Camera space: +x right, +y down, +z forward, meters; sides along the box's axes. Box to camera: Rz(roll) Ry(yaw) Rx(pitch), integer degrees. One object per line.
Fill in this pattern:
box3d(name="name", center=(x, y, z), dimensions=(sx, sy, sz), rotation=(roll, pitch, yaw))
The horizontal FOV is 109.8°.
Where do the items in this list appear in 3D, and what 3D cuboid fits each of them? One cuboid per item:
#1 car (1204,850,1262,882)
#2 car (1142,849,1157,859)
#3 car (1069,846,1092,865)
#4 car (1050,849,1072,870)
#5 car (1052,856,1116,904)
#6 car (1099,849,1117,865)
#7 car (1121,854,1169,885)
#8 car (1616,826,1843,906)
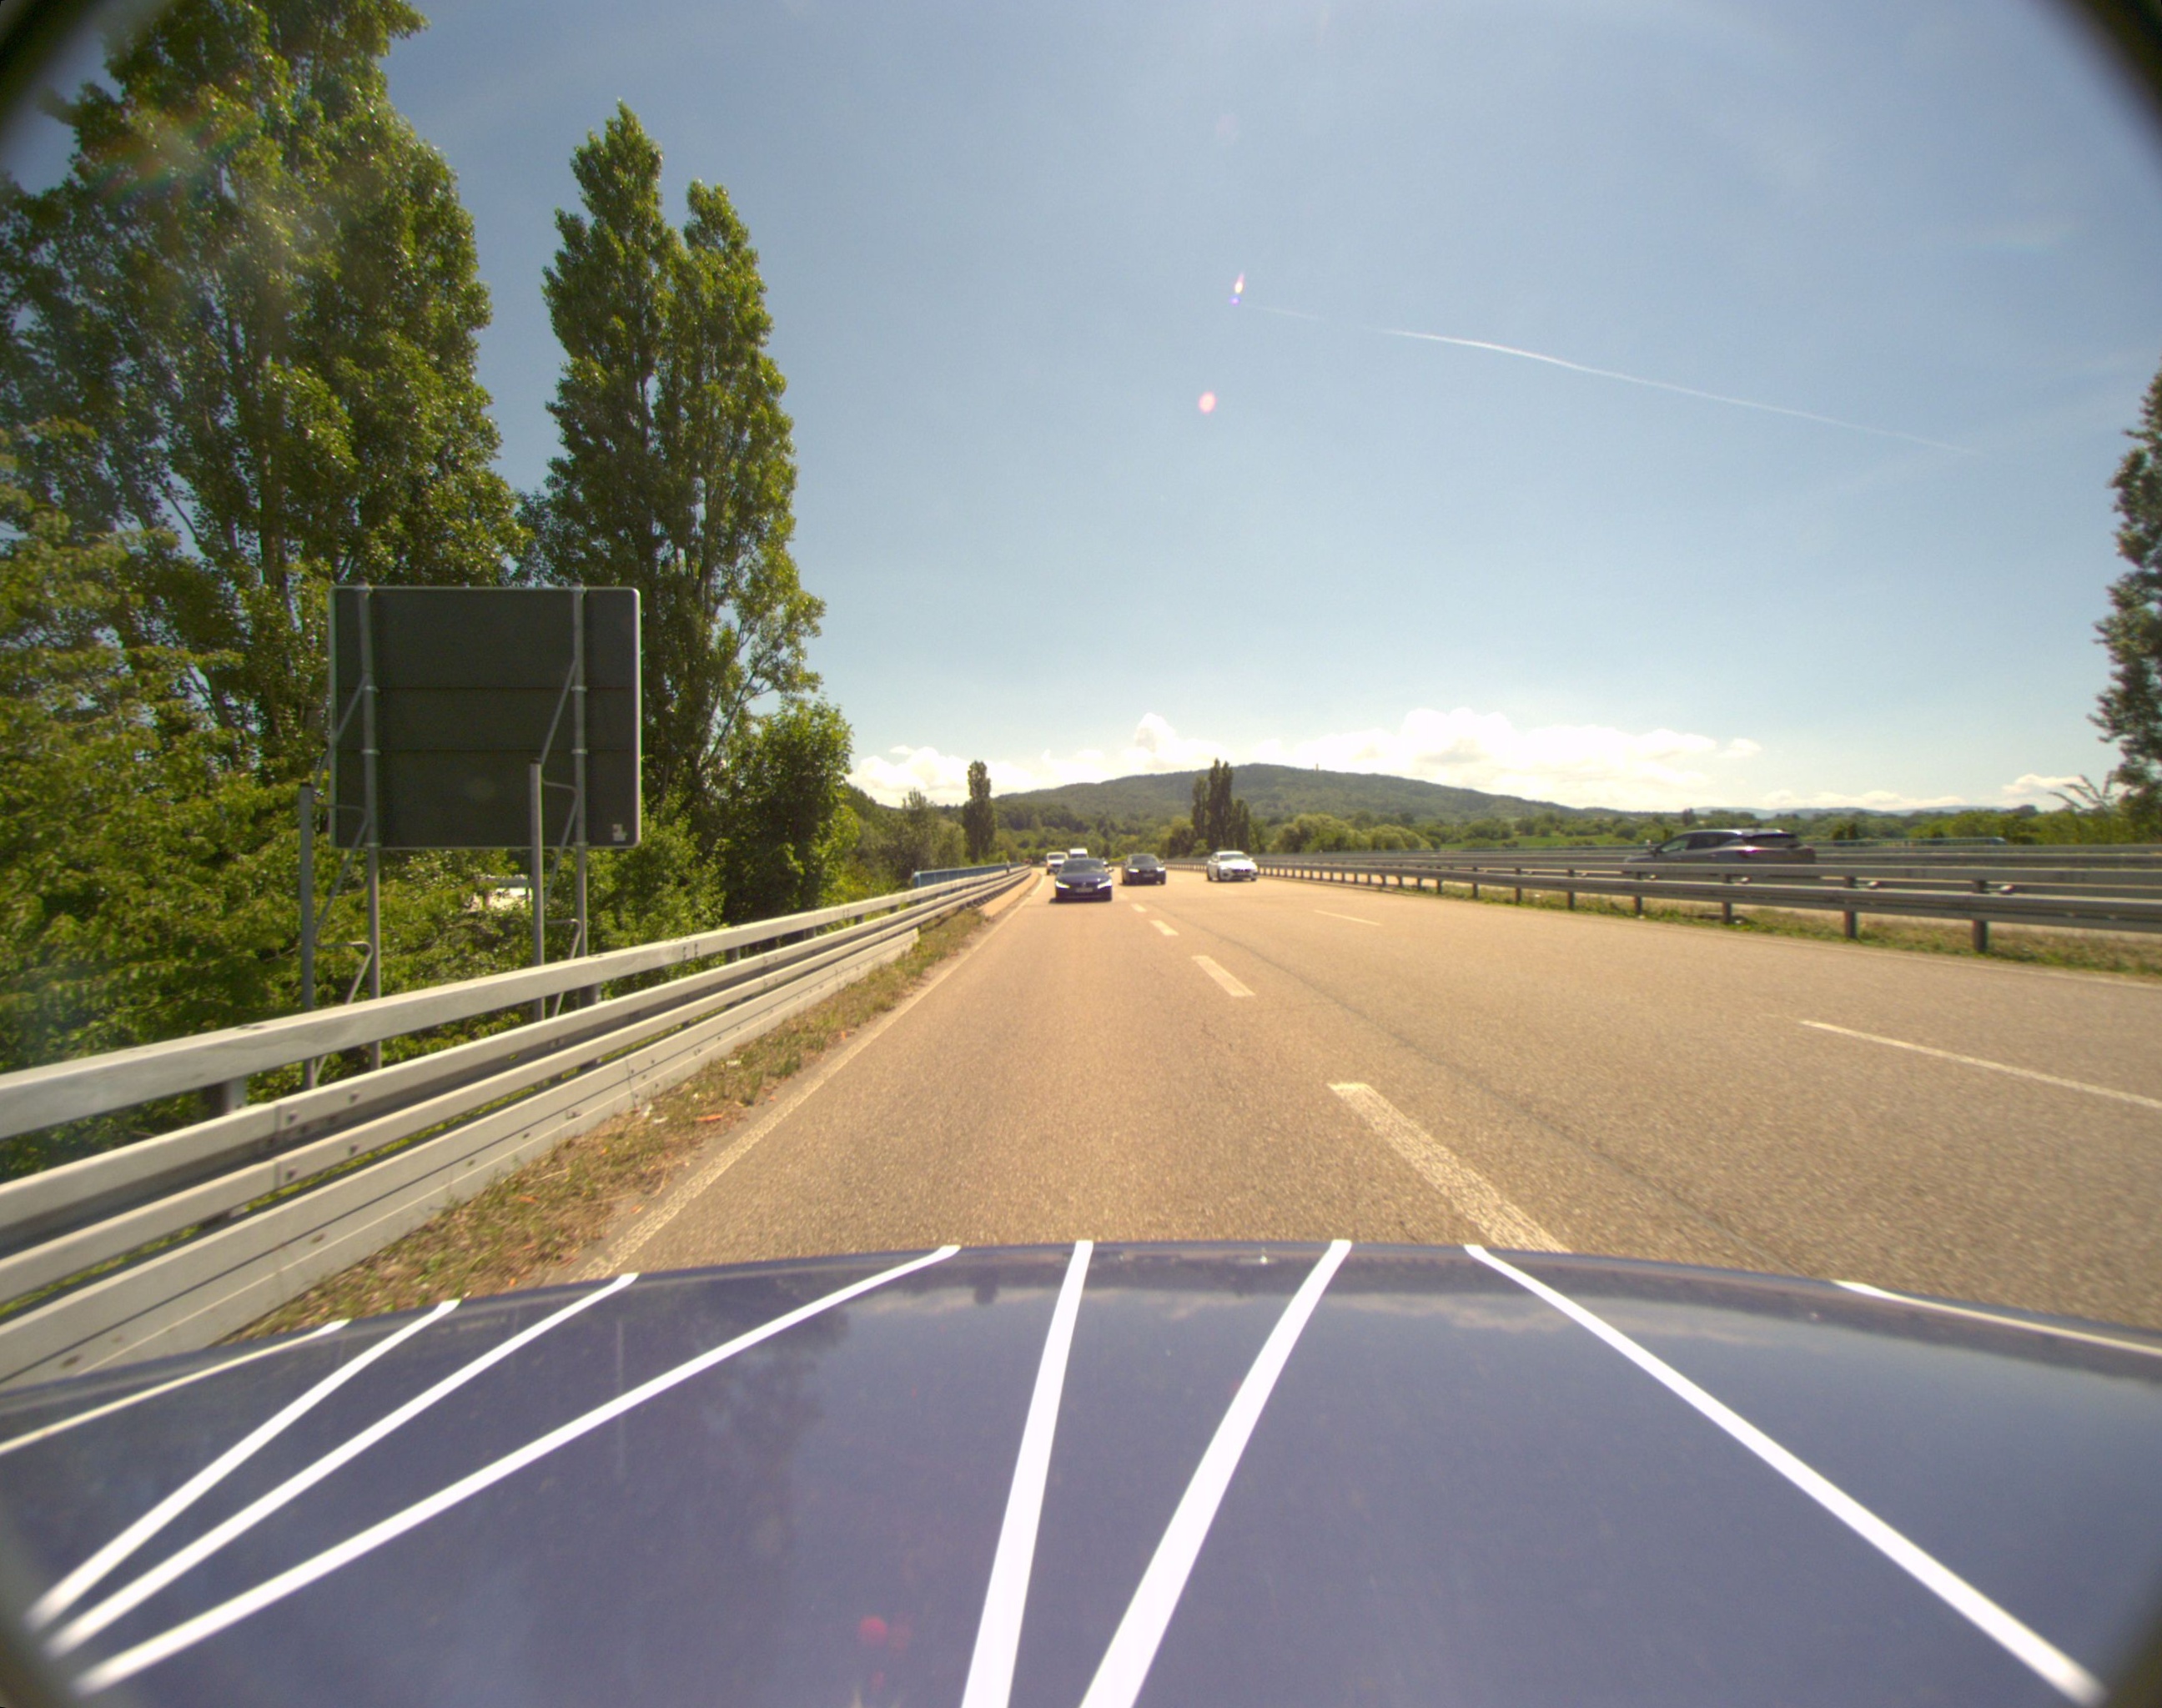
box3d(name="car", center=(7.446, 0.563, 37.595), dimensions=(1.846, 1.399, 4.469), rotation=(-2, 1, -1))
box3d(name="car", center=(11.803, 0.030, 130.669), dimensions=(1.848, 1.658, 5.049), rotation=(-1, 1, -3))
box3d(name="car", center=(-0.067, 0.176, 84.891), dimensions=(2.009, 1.987, 4.576), rotation=(-2, 1, -6))
box3d(name="car", center=(-1.824, 0.444, 67.870), dimensions=(1.885, 1.724, 4.468), rotation=(-2, 1, -3))
box3d(name="car", center=(0.019, 0.802, 25.923), dimensions=(1.846, 1.399, 4.468), rotation=(-2, 0, -4))
box3d(name="car", center=(3.646, 0.375, 102.766), dimensions=(2.009, 1.987, 4.577), rotation=(-2, 0, -3))
box3d(name="car", center=(3.083, 0.714, 37.345), dimensions=(1.846, 1.399, 4.469), rotation=(-2, 0, -1))
box3d(name="car", center=(15.107, 0.236, 18.064), dimensions=(1.829, 1.638, 4.188), rotation=(-1, 1, 0))
